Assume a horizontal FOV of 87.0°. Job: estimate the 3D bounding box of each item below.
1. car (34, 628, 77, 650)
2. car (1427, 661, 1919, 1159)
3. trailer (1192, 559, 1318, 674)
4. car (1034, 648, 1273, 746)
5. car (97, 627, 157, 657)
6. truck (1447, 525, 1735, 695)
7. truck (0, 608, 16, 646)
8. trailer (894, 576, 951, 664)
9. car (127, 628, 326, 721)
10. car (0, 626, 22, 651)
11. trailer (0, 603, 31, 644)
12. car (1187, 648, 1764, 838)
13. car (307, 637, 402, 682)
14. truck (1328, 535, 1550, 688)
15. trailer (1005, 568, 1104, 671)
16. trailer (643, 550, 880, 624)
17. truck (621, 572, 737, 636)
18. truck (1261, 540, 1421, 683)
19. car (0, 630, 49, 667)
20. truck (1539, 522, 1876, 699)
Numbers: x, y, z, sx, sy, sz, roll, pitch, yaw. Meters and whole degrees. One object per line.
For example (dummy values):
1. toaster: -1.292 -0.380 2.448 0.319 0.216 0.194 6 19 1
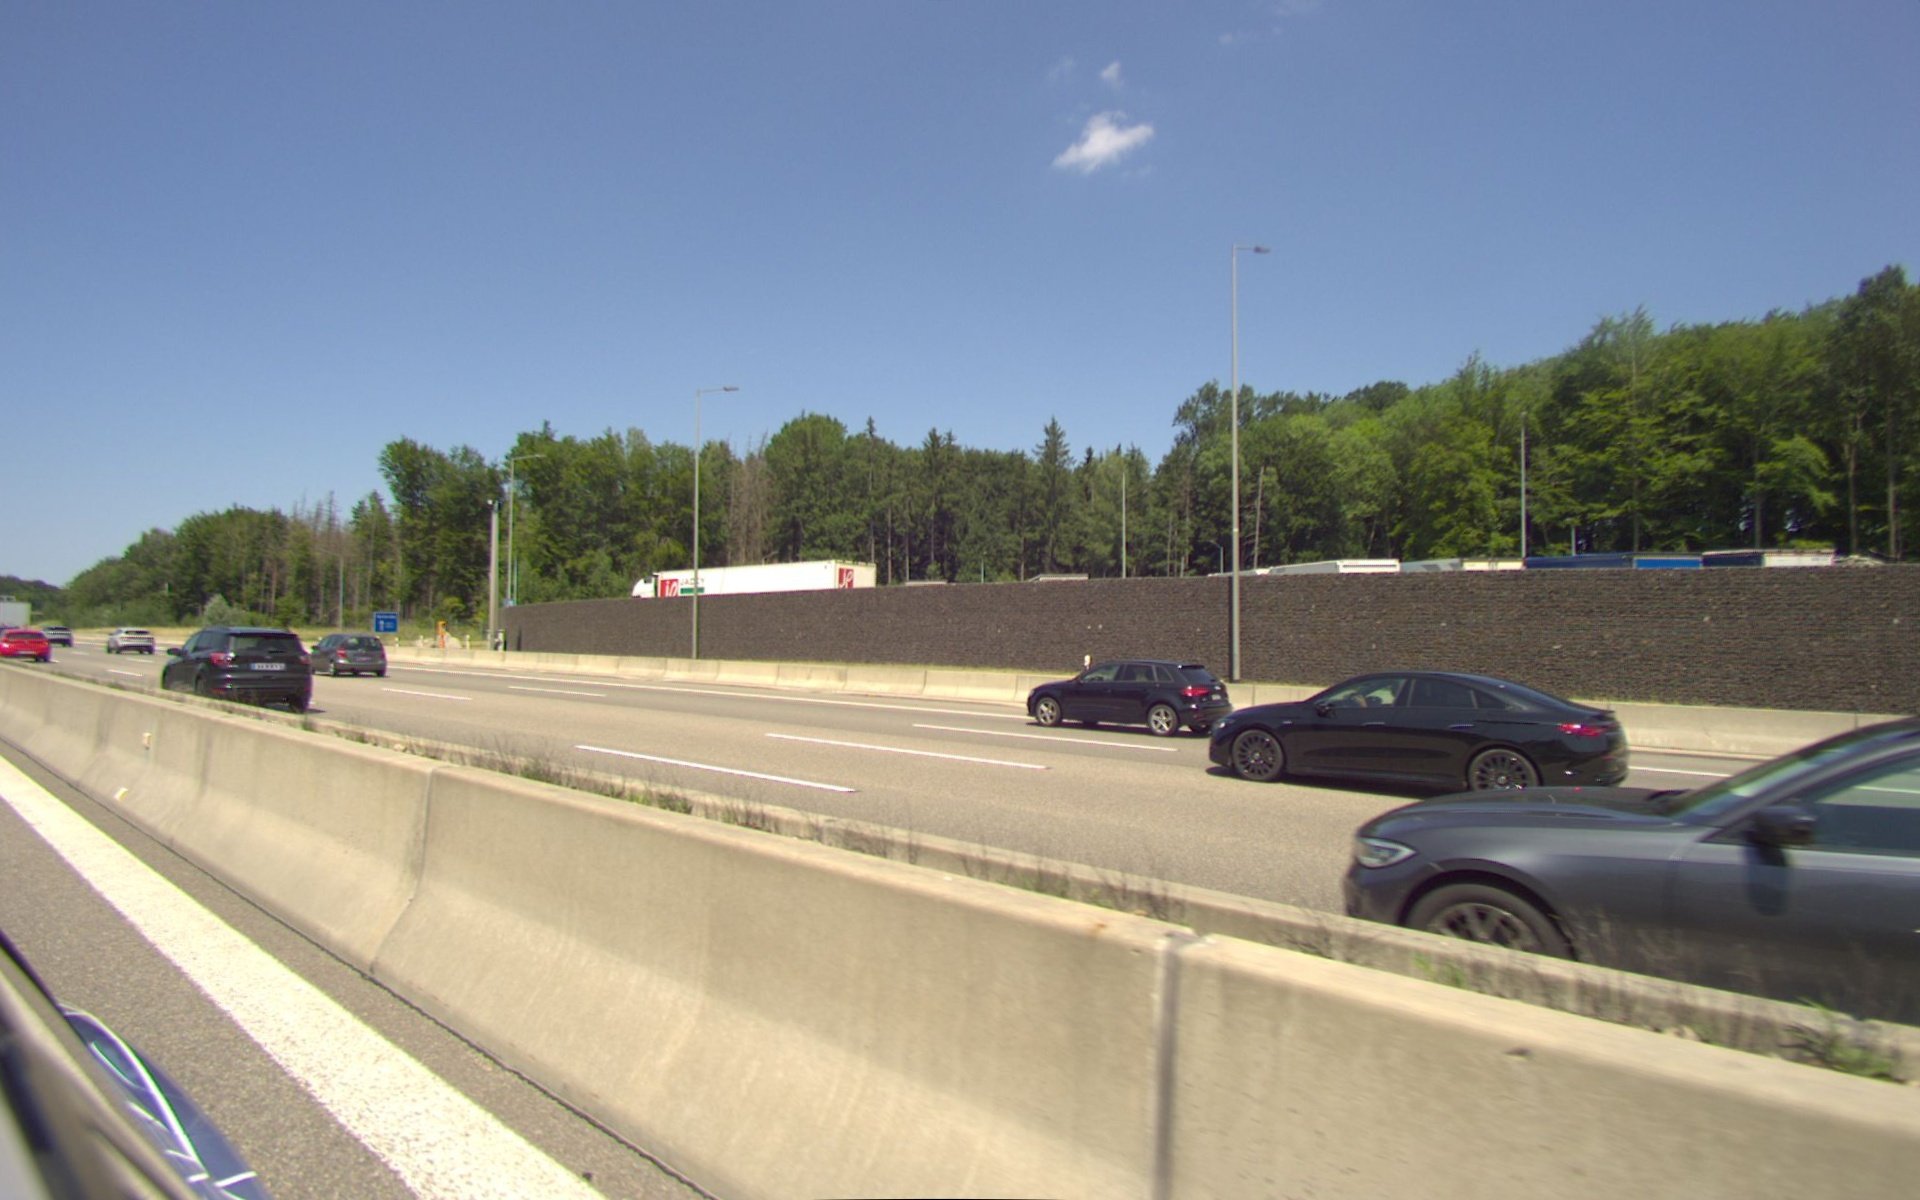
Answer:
1. car: -74.001 3.165 82.788 5.036 1.787 1.972 -1 -3 41
2. car: 4.328 1.063 3.537 4.587 1.559 1.852 -1 -3 40
3. trailer: 15.599 0.969 54.574 3.179 5.655 9.949 0 -2 -5
4. car: 3.731 1.801 19.862 4.210 1.633 1.973 -1 -3 40
5. car: -52.775 2.629 64.050 5.921 1.787 1.972 -1 -3 41
6. truck: 23.761 0.516 39.425 3.179 5.655 11.549 0 -2 -5
7. truck: -104.632 2.898 109.657 6.778 4.062 2.706 -1 -3 41
8. trailer: -2.654 1.390 65.927 3.082 5.111 14.580 0 -2 -4
9. car: -15.327 1.447 21.000 5.750 1.675 1.973 -1 -3 40
10. car: -72.268 2.857 76.062 5.921 1.787 1.972 -1 -3 41
11. trailer: -99.631 2.467 105.315 14.460 4.032 2.725 -1 -3 41
12. car: 5.735 1.432 11.899 5.751 1.633 1.973 -1 -3 41
13. car: -22.708 2.192 37.904 4.053 1.567 1.705 -1 -2 38
14. truck: 19.904 0.606 43.382 3.179 5.655 11.549 0 -2 -5
15. trailer: 5.051 1.196 57.650 3.175 5.111 14.580 0 -2 -4
16. trailer: -10.051 -0.422 49.058 14.602 3.148 2.941 -1 -2 41
17. truck: -14.823 0.296 53.203 6.199 3.148 2.896 -1 -2 41
18. truck: 16.425 0.600 44.478 3.179 5.655 8.496 0 -2 -5
19. car: -42.426 2.146 45.404 5.042 1.525 1.712 -1 -3 41
20. truck: 27.199 0.521 38.114 3.317 5.655 11.549 0 -2 -5
